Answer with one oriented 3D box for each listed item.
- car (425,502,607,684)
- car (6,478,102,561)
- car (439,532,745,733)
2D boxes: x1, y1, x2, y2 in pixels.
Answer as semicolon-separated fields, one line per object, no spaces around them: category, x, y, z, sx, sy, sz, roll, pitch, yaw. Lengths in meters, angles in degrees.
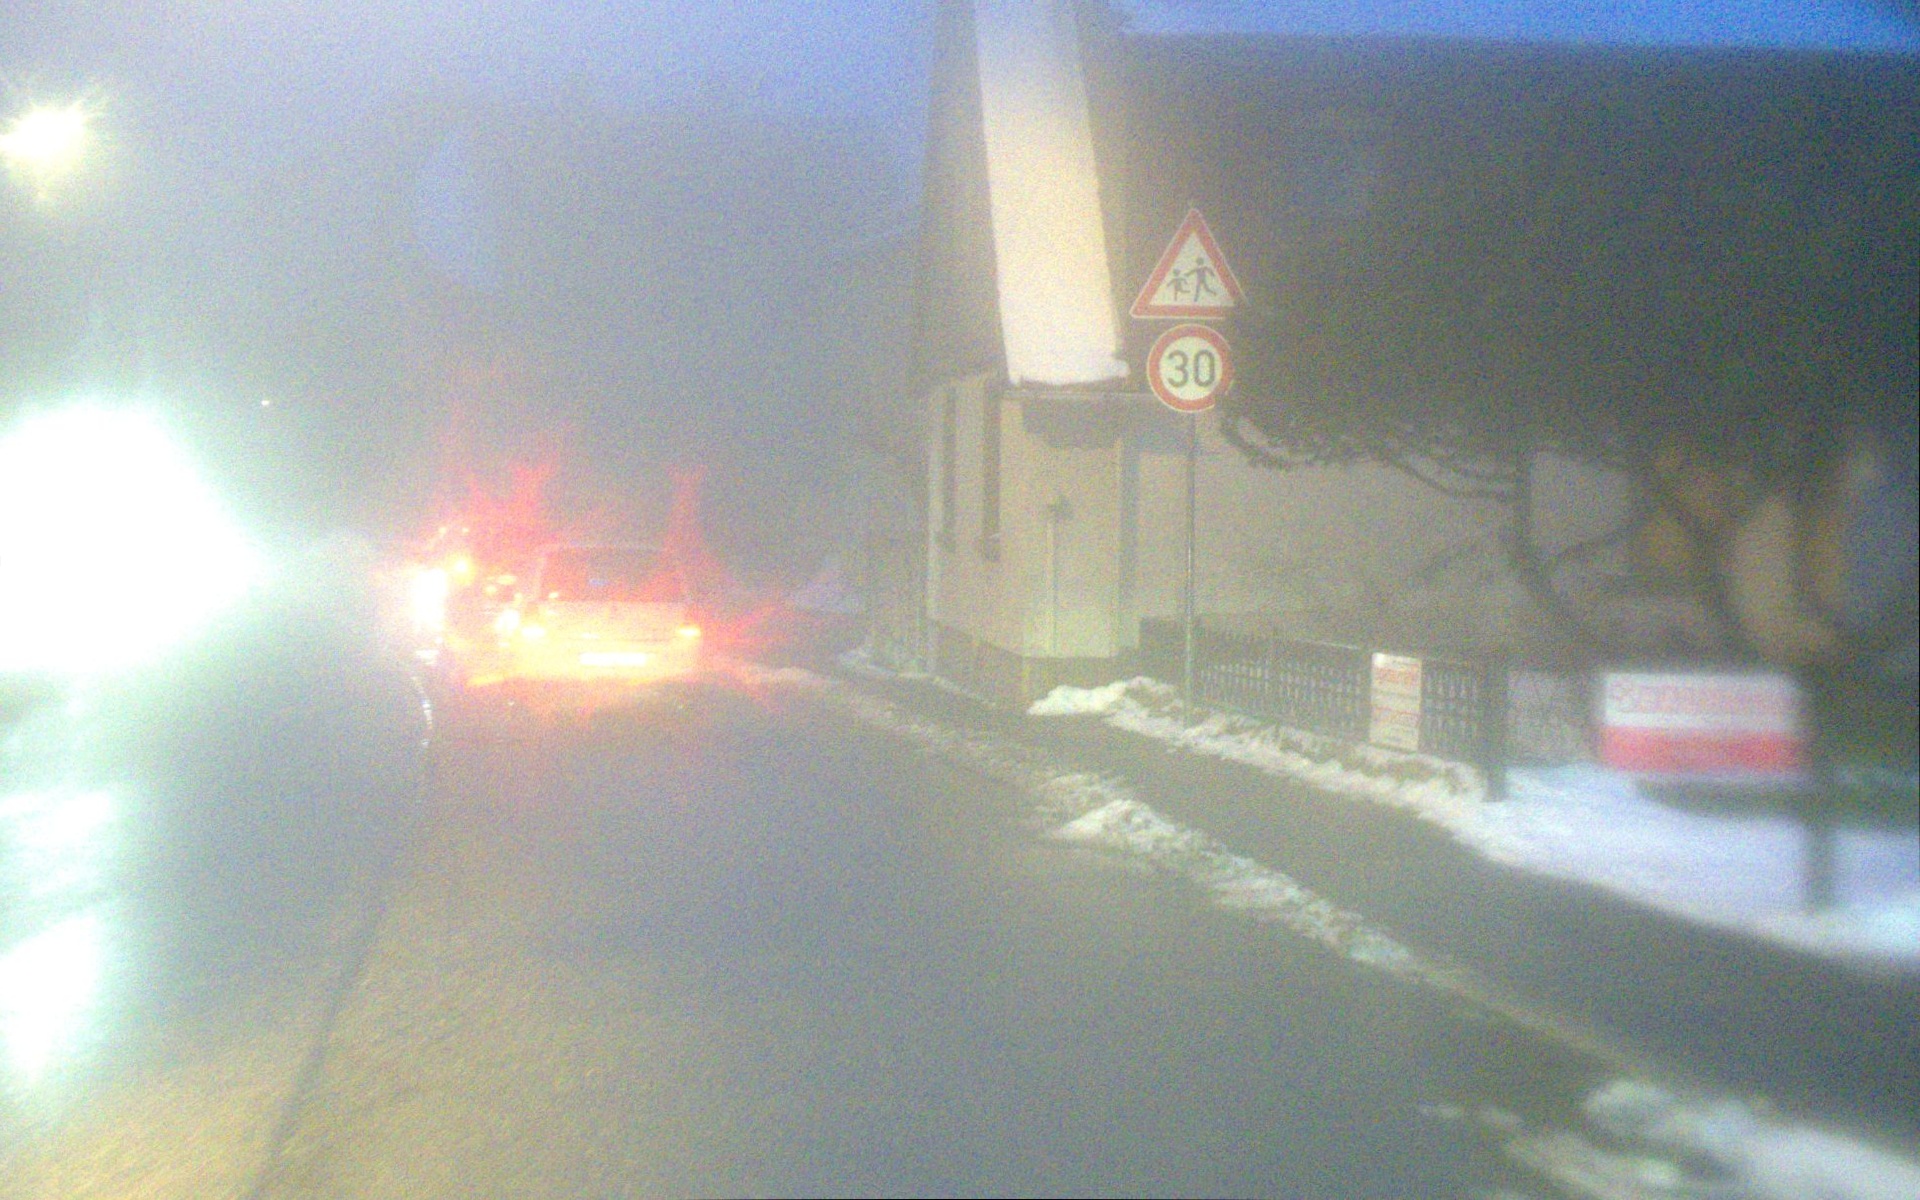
car;-5.395;-0.064;41.986;1.993;2.007;4.001;3;-1;-7
car;-19.221;-1.704;73.059;1.840;1.681;4.479;0;1;-13
car;-3.228;0.265;29.442;1.993;1.503;4.001;3;-1;-14
